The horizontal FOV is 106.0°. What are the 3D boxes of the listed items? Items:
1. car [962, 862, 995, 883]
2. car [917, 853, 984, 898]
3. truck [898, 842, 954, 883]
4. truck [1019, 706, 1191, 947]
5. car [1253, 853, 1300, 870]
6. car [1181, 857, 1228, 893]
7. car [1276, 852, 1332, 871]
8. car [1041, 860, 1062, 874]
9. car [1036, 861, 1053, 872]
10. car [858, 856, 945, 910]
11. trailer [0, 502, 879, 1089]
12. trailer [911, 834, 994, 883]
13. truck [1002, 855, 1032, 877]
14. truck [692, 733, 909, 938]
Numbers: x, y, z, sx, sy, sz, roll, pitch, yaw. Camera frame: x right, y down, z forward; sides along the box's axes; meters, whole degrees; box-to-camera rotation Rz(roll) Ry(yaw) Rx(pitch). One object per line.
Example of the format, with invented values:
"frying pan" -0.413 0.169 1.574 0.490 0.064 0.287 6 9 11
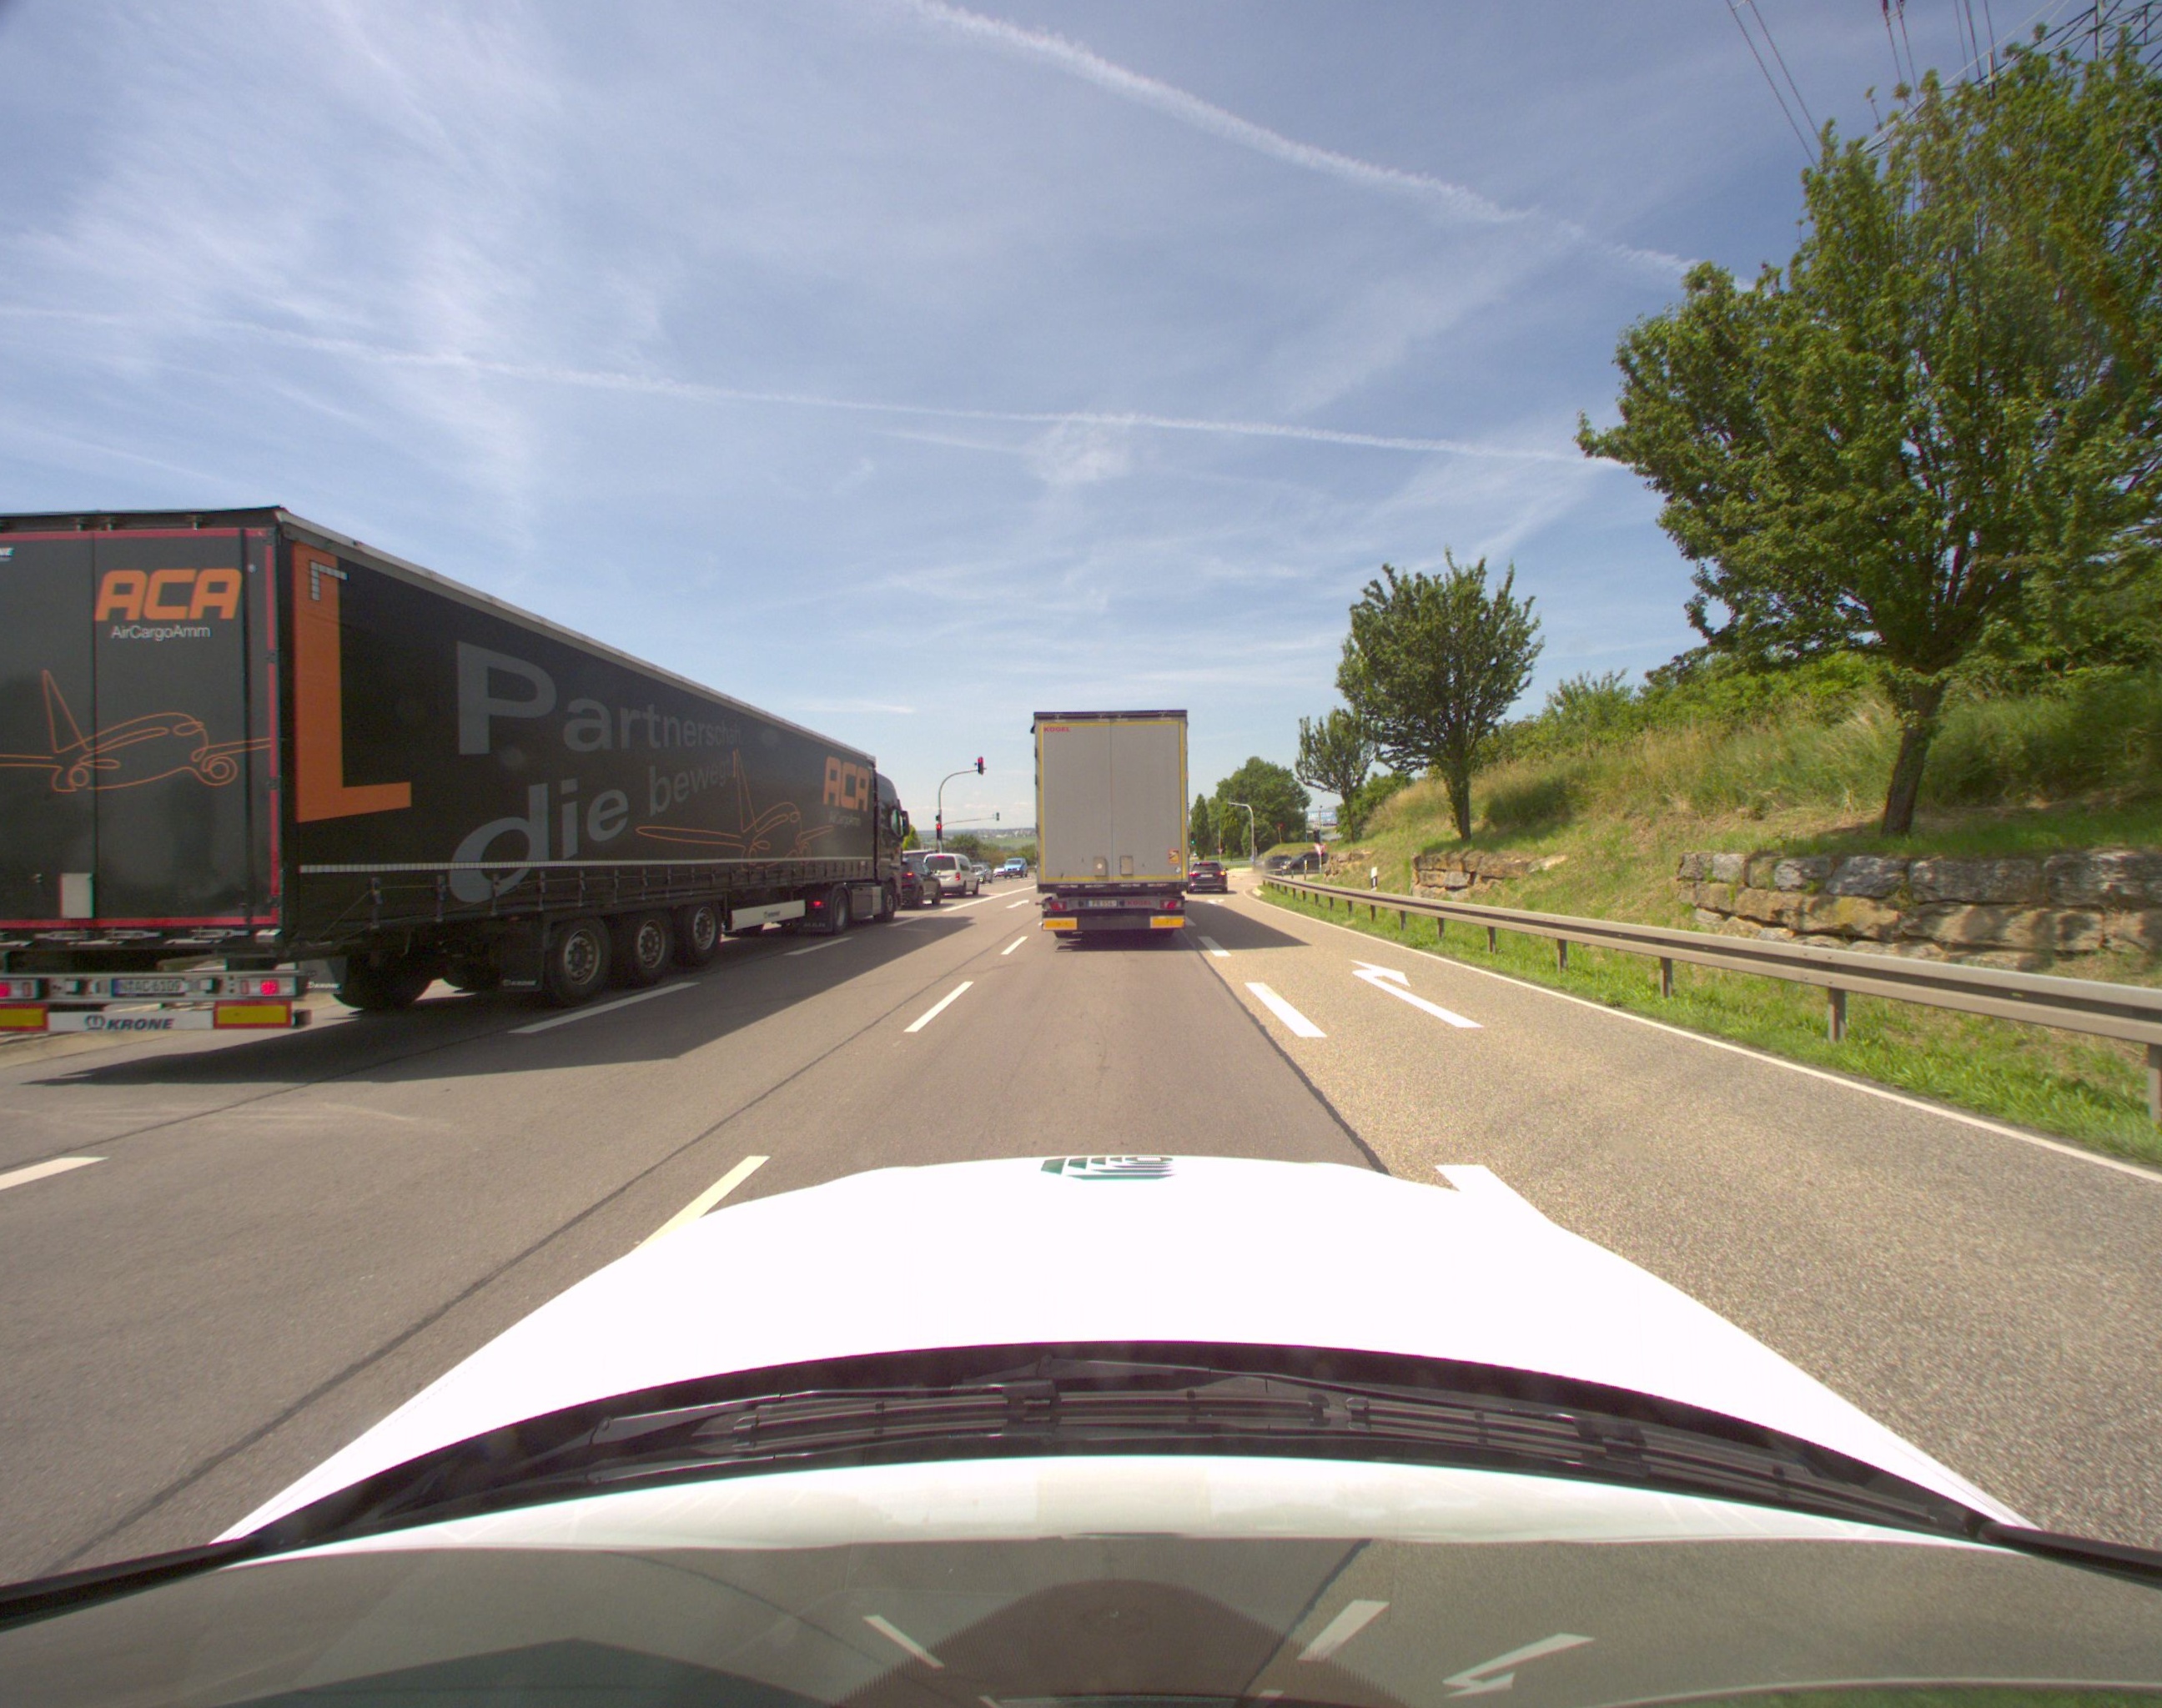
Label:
"car" -7.738 1.374 61.978 1.729 1.528 4.004 -1 -1 4
"car" -5.543 0.872 35.210 1.759 1.798 4.758 -1 0 5
"truck" -12.060 0.704 63.939 2.787 3.014 5.995 -2 -1 4
"truck" 0.586 -0.389 19.042 2.788 3.930 11.346 0 -1 2
"car" 18.572 0.745 77.315 3.981 1.511 1.713 -1 -1 -6
"car" 5.511 0.917 36.804 1.738 1.532 4.303 -1 -1 4
"car" 19.433 0.673 71.056 4.356 1.511 1.711 -1 -1 -9
"car" -3.242 1.430 89.425 1.747 1.469 4.201 2 -1 5
"car" -4.846 1.679 107.746 1.765 1.434 4.003 -2 -1 3
"car" -5.875 0.903 27.200 1.849 1.657 4.349 -1 0 1
"trailer" -6.452 -0.332 12.353 2.772 3.913 13.794 -1 -1 2
"trailer" -11.145 0.499 73.719 2.627 3.763 19.824 -2 -1 5
"truck" -6.502 1.195 83.568 1.955 2.157 4.634 -2 -1 9
"truck" -6.159 -0.345 19.003 2.772 4.013 5.974 -1 -1 2
